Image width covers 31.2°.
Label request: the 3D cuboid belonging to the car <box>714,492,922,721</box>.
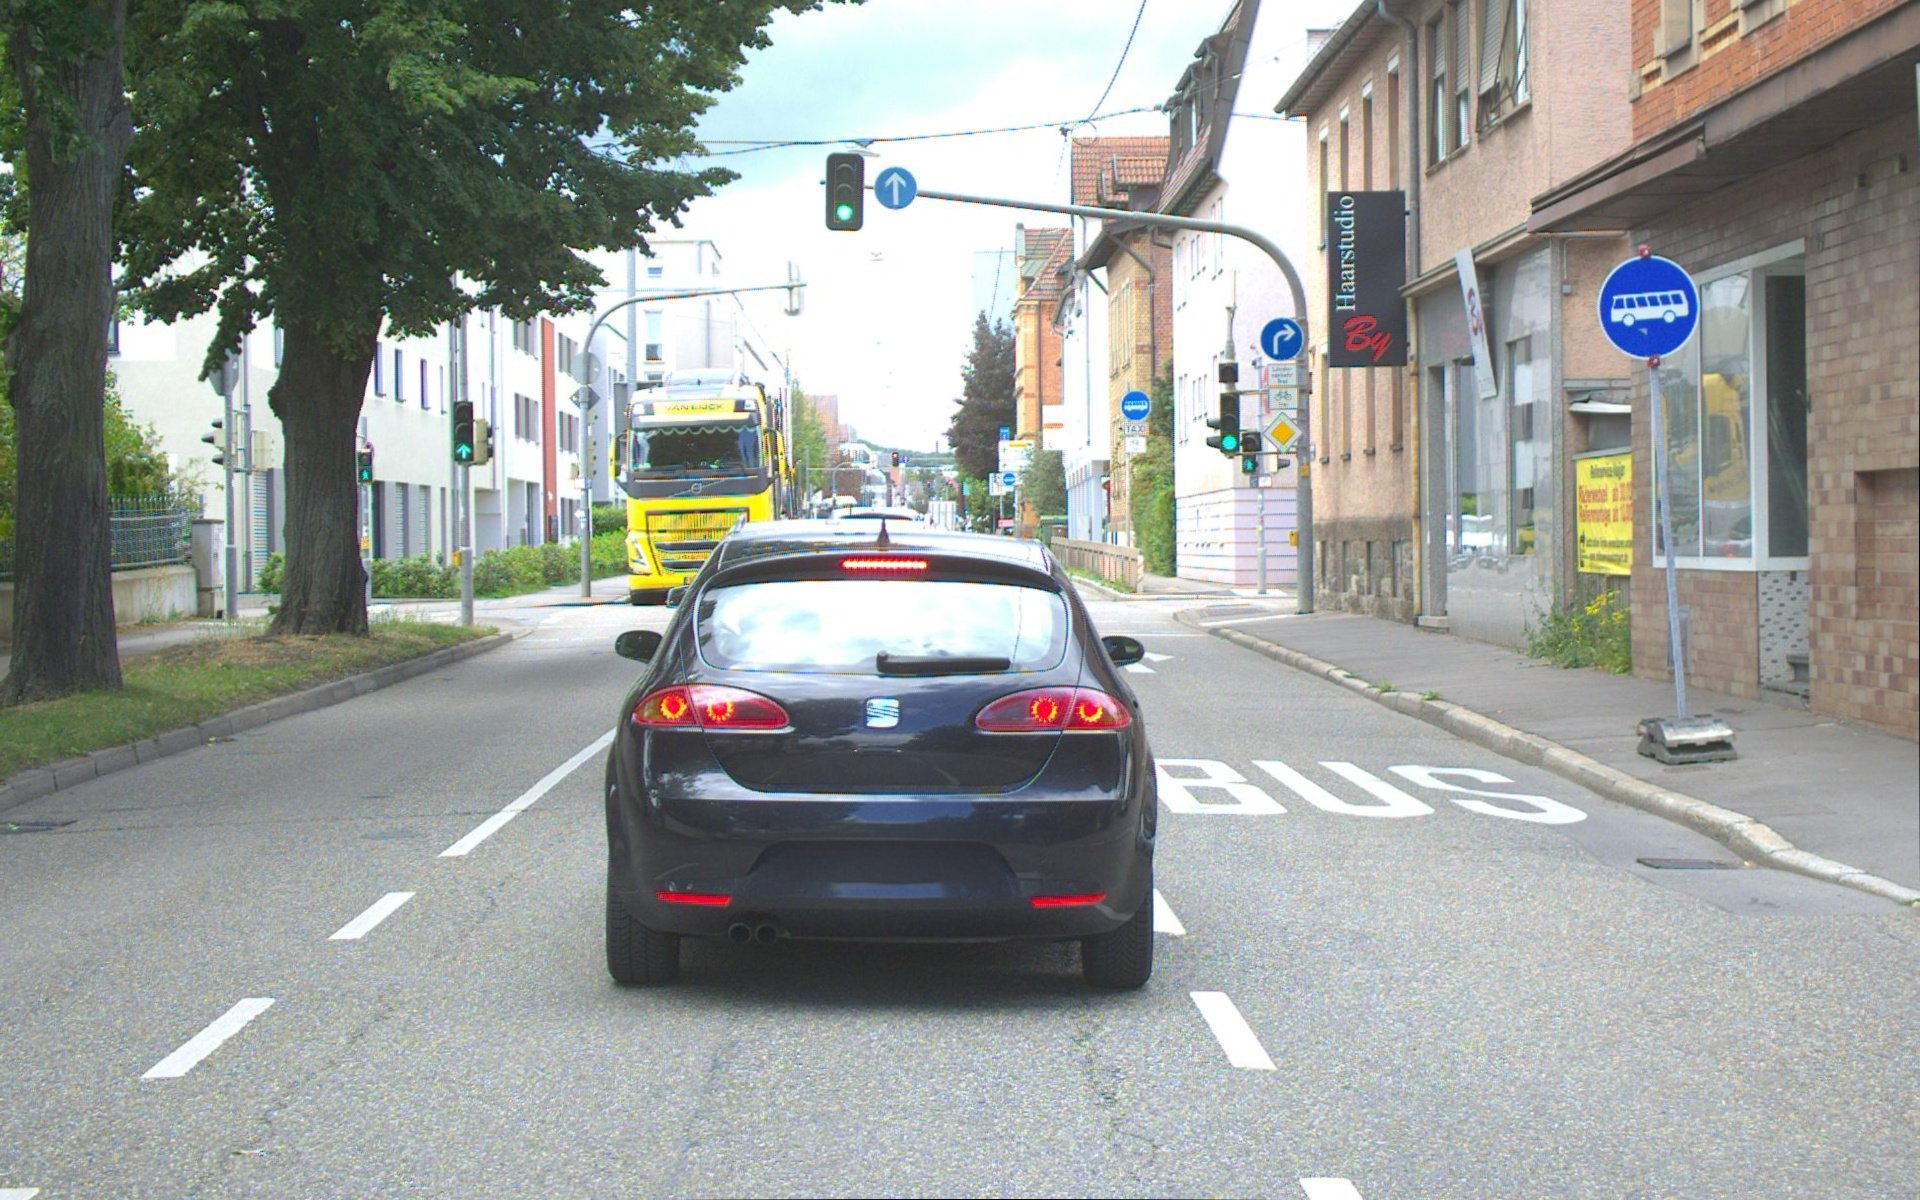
[{"bbox_3d":[-1.093,0.013,27.388,1.531,1.687,3.693,0,1,-1],"label":"car"}]

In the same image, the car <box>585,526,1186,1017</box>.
[{"bbox_3d":[-0.252,0.469,12.137,1.759,1.437,4.000,0,1,-1],"label":"car"}]

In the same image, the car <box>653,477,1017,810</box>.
[{"bbox_3d":[-0.681,0.183,19.542,1.842,1.687,4.000,0,1,-1],"label":"car"}]

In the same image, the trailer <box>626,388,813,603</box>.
[{"bbox_3d":[-4.587,-1.999,68.357,2.858,3.795,14.392,0,1,-1],"label":"trailer"}]

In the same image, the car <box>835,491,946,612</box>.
[{"bbox_3d":[-1.009,-0.711,49.756,1.531,1.687,3.693,0,1,-1],"label":"car"}]

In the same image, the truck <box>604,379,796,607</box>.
[{"bbox_3d":[-4.500,-1.846,60.869,2.843,3.769,7.670,0,1,0],"label":"truck"}]

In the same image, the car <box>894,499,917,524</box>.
[{"bbox_3d":[-3.708,-6.044,234.146,1.531,1.687,3.694,-1,2,-1],"label":"car"}]

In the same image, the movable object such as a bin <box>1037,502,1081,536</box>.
[{"bbox_3d":[4.159,-3.410,144.814,1.818,1.432,1.993,0,1,0],"label":"movable object such as a bin"}]
